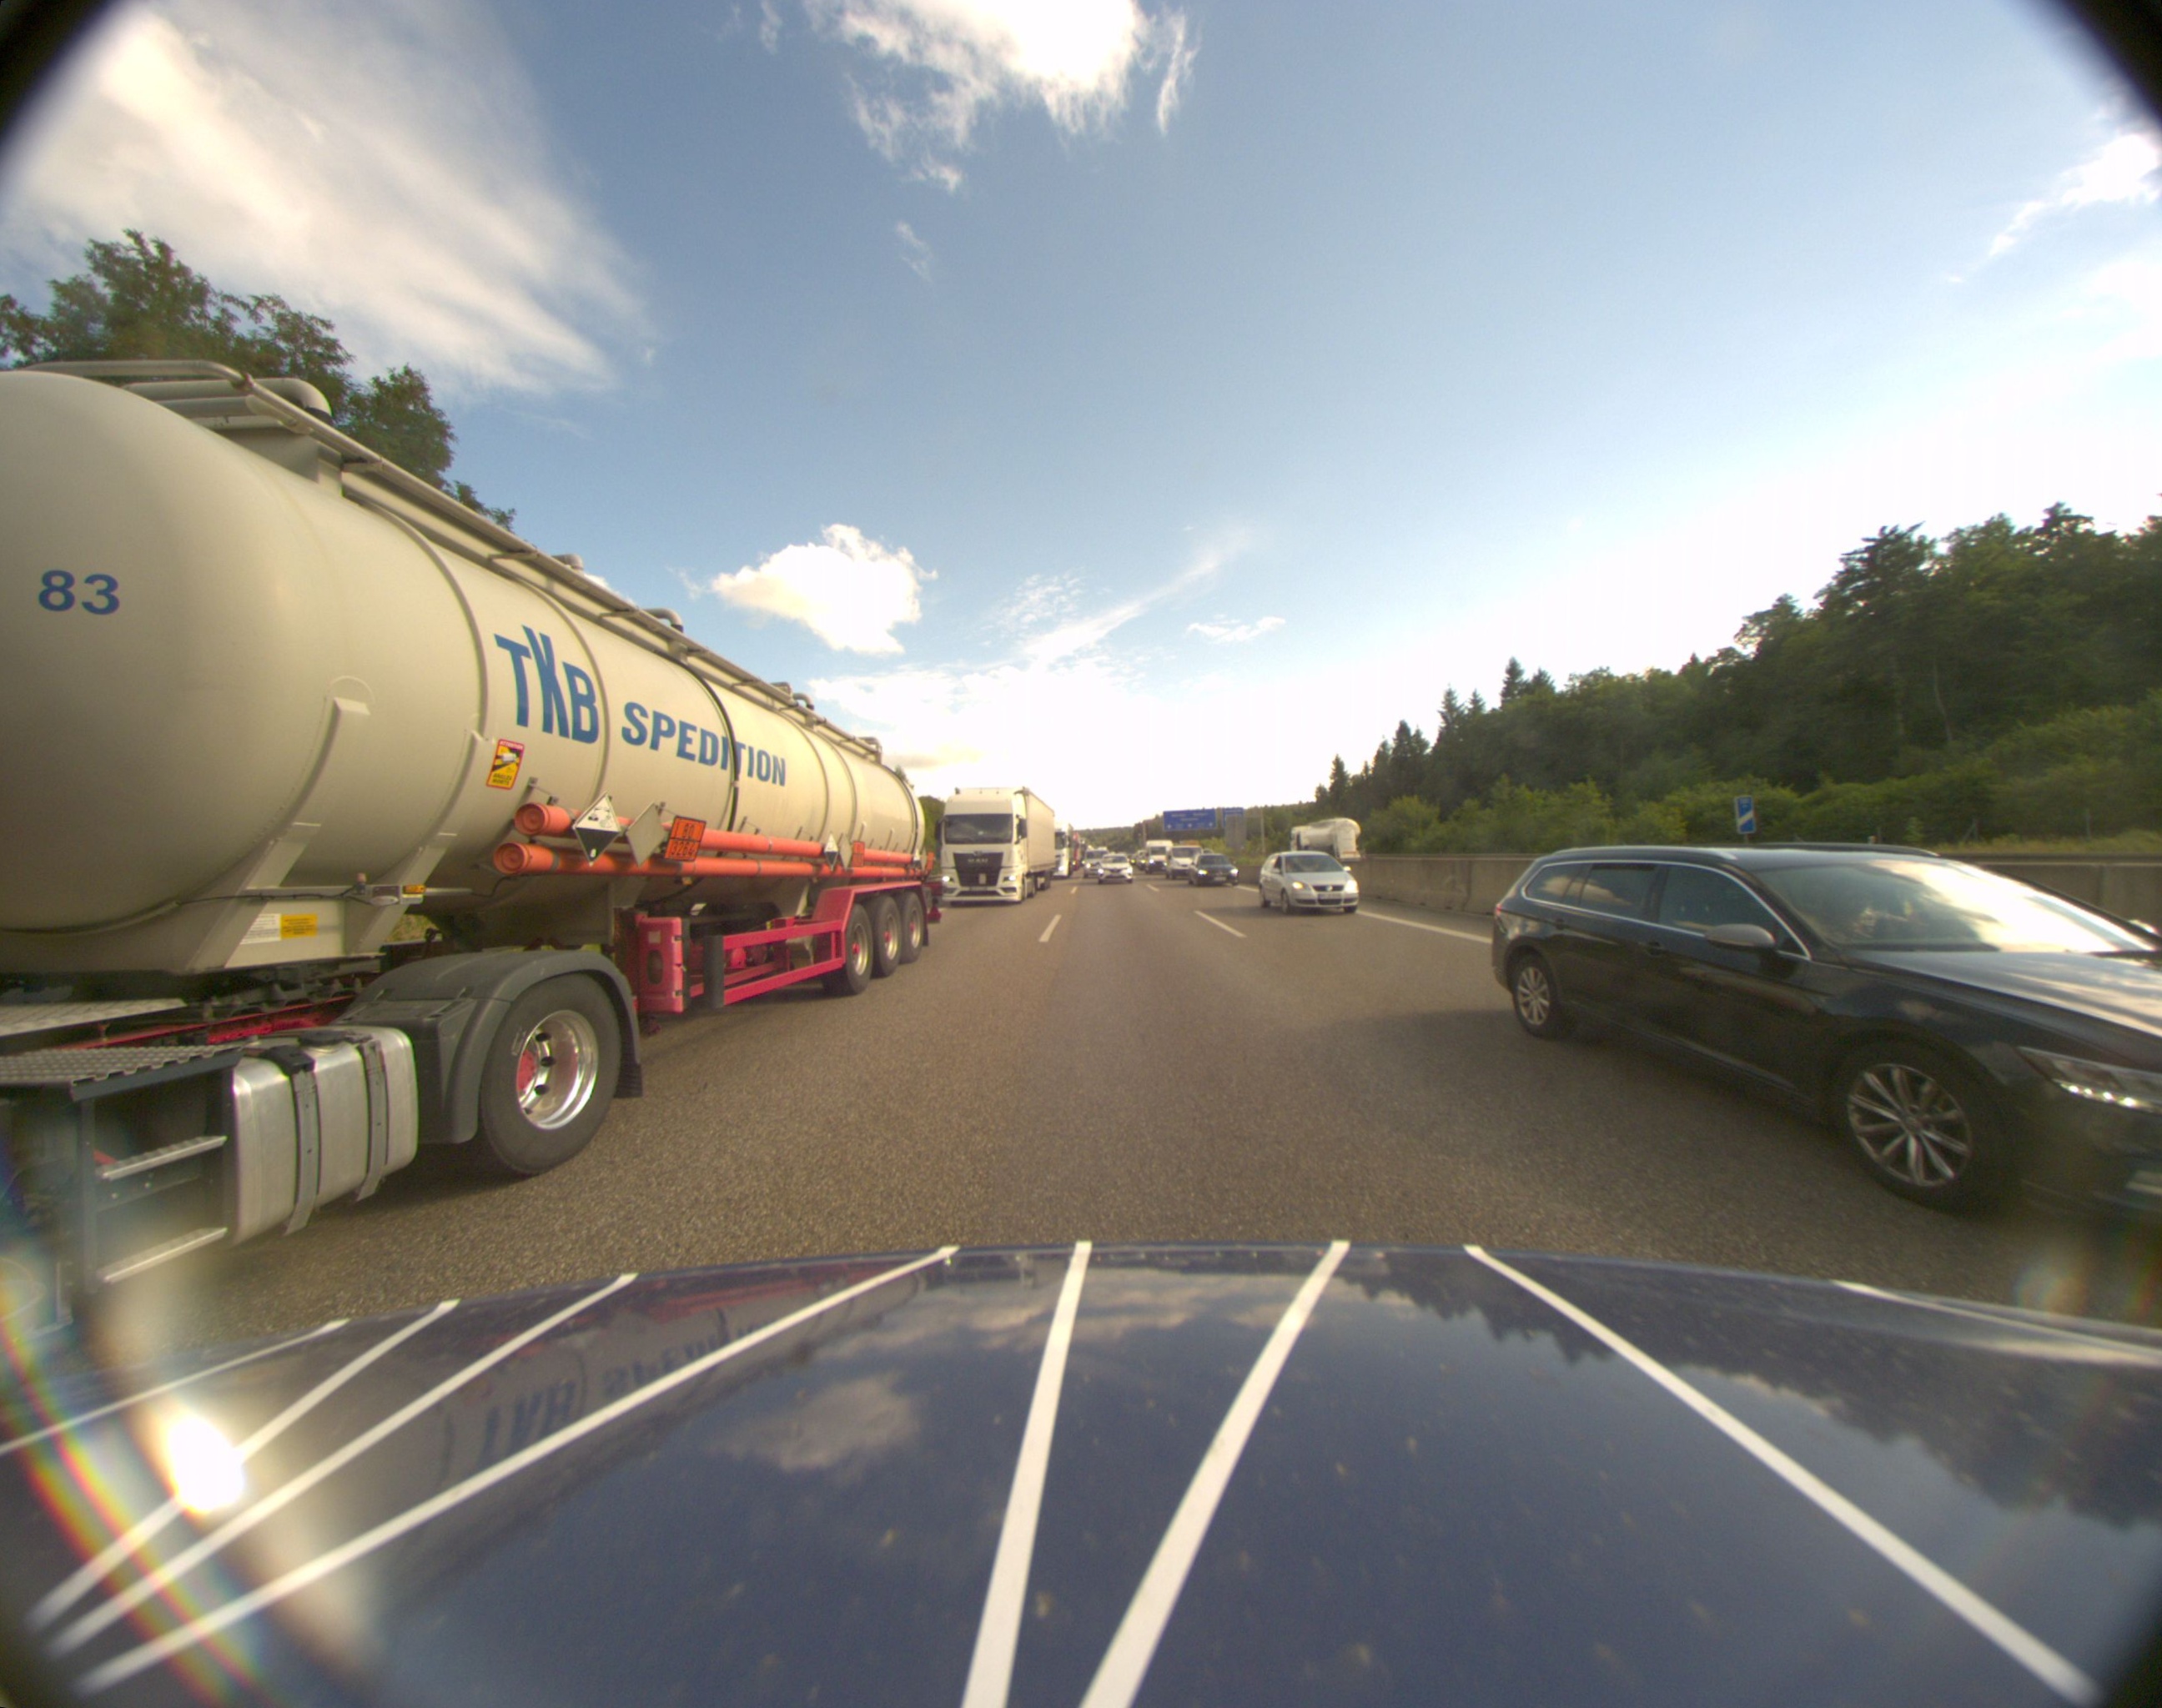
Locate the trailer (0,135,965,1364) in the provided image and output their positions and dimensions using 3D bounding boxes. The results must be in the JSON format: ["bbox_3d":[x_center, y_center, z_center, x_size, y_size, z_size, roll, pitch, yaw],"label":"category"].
[{"bbox_3d":[-3.754,-0.321,8.119,2.805,4.003,11.182,-2,0,2],"label":"trailer"}]

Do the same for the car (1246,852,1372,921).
[{"bbox_3d":[5.478,0.709,18.898,1.809,1.423,4.666,-2,0,1],"label":"car"}]

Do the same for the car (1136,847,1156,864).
[{"bbox_3d":[7.294,0.127,85.118,1.920,1.785,3.811,-2,0,1],"label":"car"}]

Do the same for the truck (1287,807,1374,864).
[{"bbox_3d":[21.249,-1.552,65.860,2.939,4.329,13.909,-2,1,0],"label":"truck"}]

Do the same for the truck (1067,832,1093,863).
[{"bbox_3d":[-0.082,-0.965,108.165,2.840,4.178,12.045,-2,1,3],"label":"truck"}]

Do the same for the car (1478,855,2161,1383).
[{"bbox_3d":[4.240,0.784,4.188,1.915,1.469,4.569,-2,0,3],"label":"car"}]

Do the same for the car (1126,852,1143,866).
[{"bbox_3d":[6.611,0.594,94.048,1.920,1.535,3.811,-2,0,1],"label":"car"}]

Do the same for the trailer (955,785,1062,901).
[{"bbox_3d":[-2.738,-0.439,33.621,2.832,4.047,13.372,-2,0,2],"label":"trailer"}]

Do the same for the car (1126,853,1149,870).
[{"bbox_3d":[5.171,0.670,69.846,1.809,1.423,3.660,-2,0,1],"label":"car"}]

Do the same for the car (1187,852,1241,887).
[{"bbox_3d":[5.963,0.641,34.414,1.809,1.423,3.994,-2,0,1],"label":"car"}]

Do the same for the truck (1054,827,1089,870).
[{"bbox_3d":[-0.925,-0.644,82.383,2.840,4.178,12.045,-2,1,3],"label":"truck"}]

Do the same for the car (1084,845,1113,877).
[{"bbox_3d":[1.229,0.468,52.344,1.809,2.052,4.770,-2,0,1],"label":"car"}]

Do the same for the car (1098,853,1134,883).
[{"bbox_3d":[1.857,0.712,41.324,1.809,1.488,4.666,-1,0,1],"label":"car"}]

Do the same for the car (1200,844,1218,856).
[{"bbox_3d":[18.254,-0.565,108.909,1.857,1.702,4.323,-2,0,1],"label":"car"}]

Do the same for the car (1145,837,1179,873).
[{"bbox_3d":[6.085,0.037,57.829,2.054,2.557,5.861,-1,0,1],"label":"car"}]

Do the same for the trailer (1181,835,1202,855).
[{"bbox_3d":[24.488,-2.081,168.676,2.841,4.178,13.561,-2,1,1],"label":"trailer"}]

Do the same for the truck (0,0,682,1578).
[{"bbox_3d":[-3.996,-0.272,1.676,2.809,4.020,5.904,-2,1,2],"label":"truck"}]

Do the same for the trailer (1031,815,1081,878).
[{"bbox_3d":[-1.706,-0.558,58.459,2.841,4.177,13.613,-2,0,2],"label":"trailer"}]

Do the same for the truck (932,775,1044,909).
[{"bbox_3d":[-3.011,-0.385,26.344,2.840,4.048,5.708,-2,1,2],"label":"truck"}]

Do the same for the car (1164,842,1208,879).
[{"bbox_3d":[6.096,0.353,44.695,1.947,1.953,4.848,-2,0,1],"label":"car"}]

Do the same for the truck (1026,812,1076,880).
[{"bbox_3d":[-1.933,-0.515,51.272,2.841,4.177,5.708,-2,0,2],"label":"truck"}]
